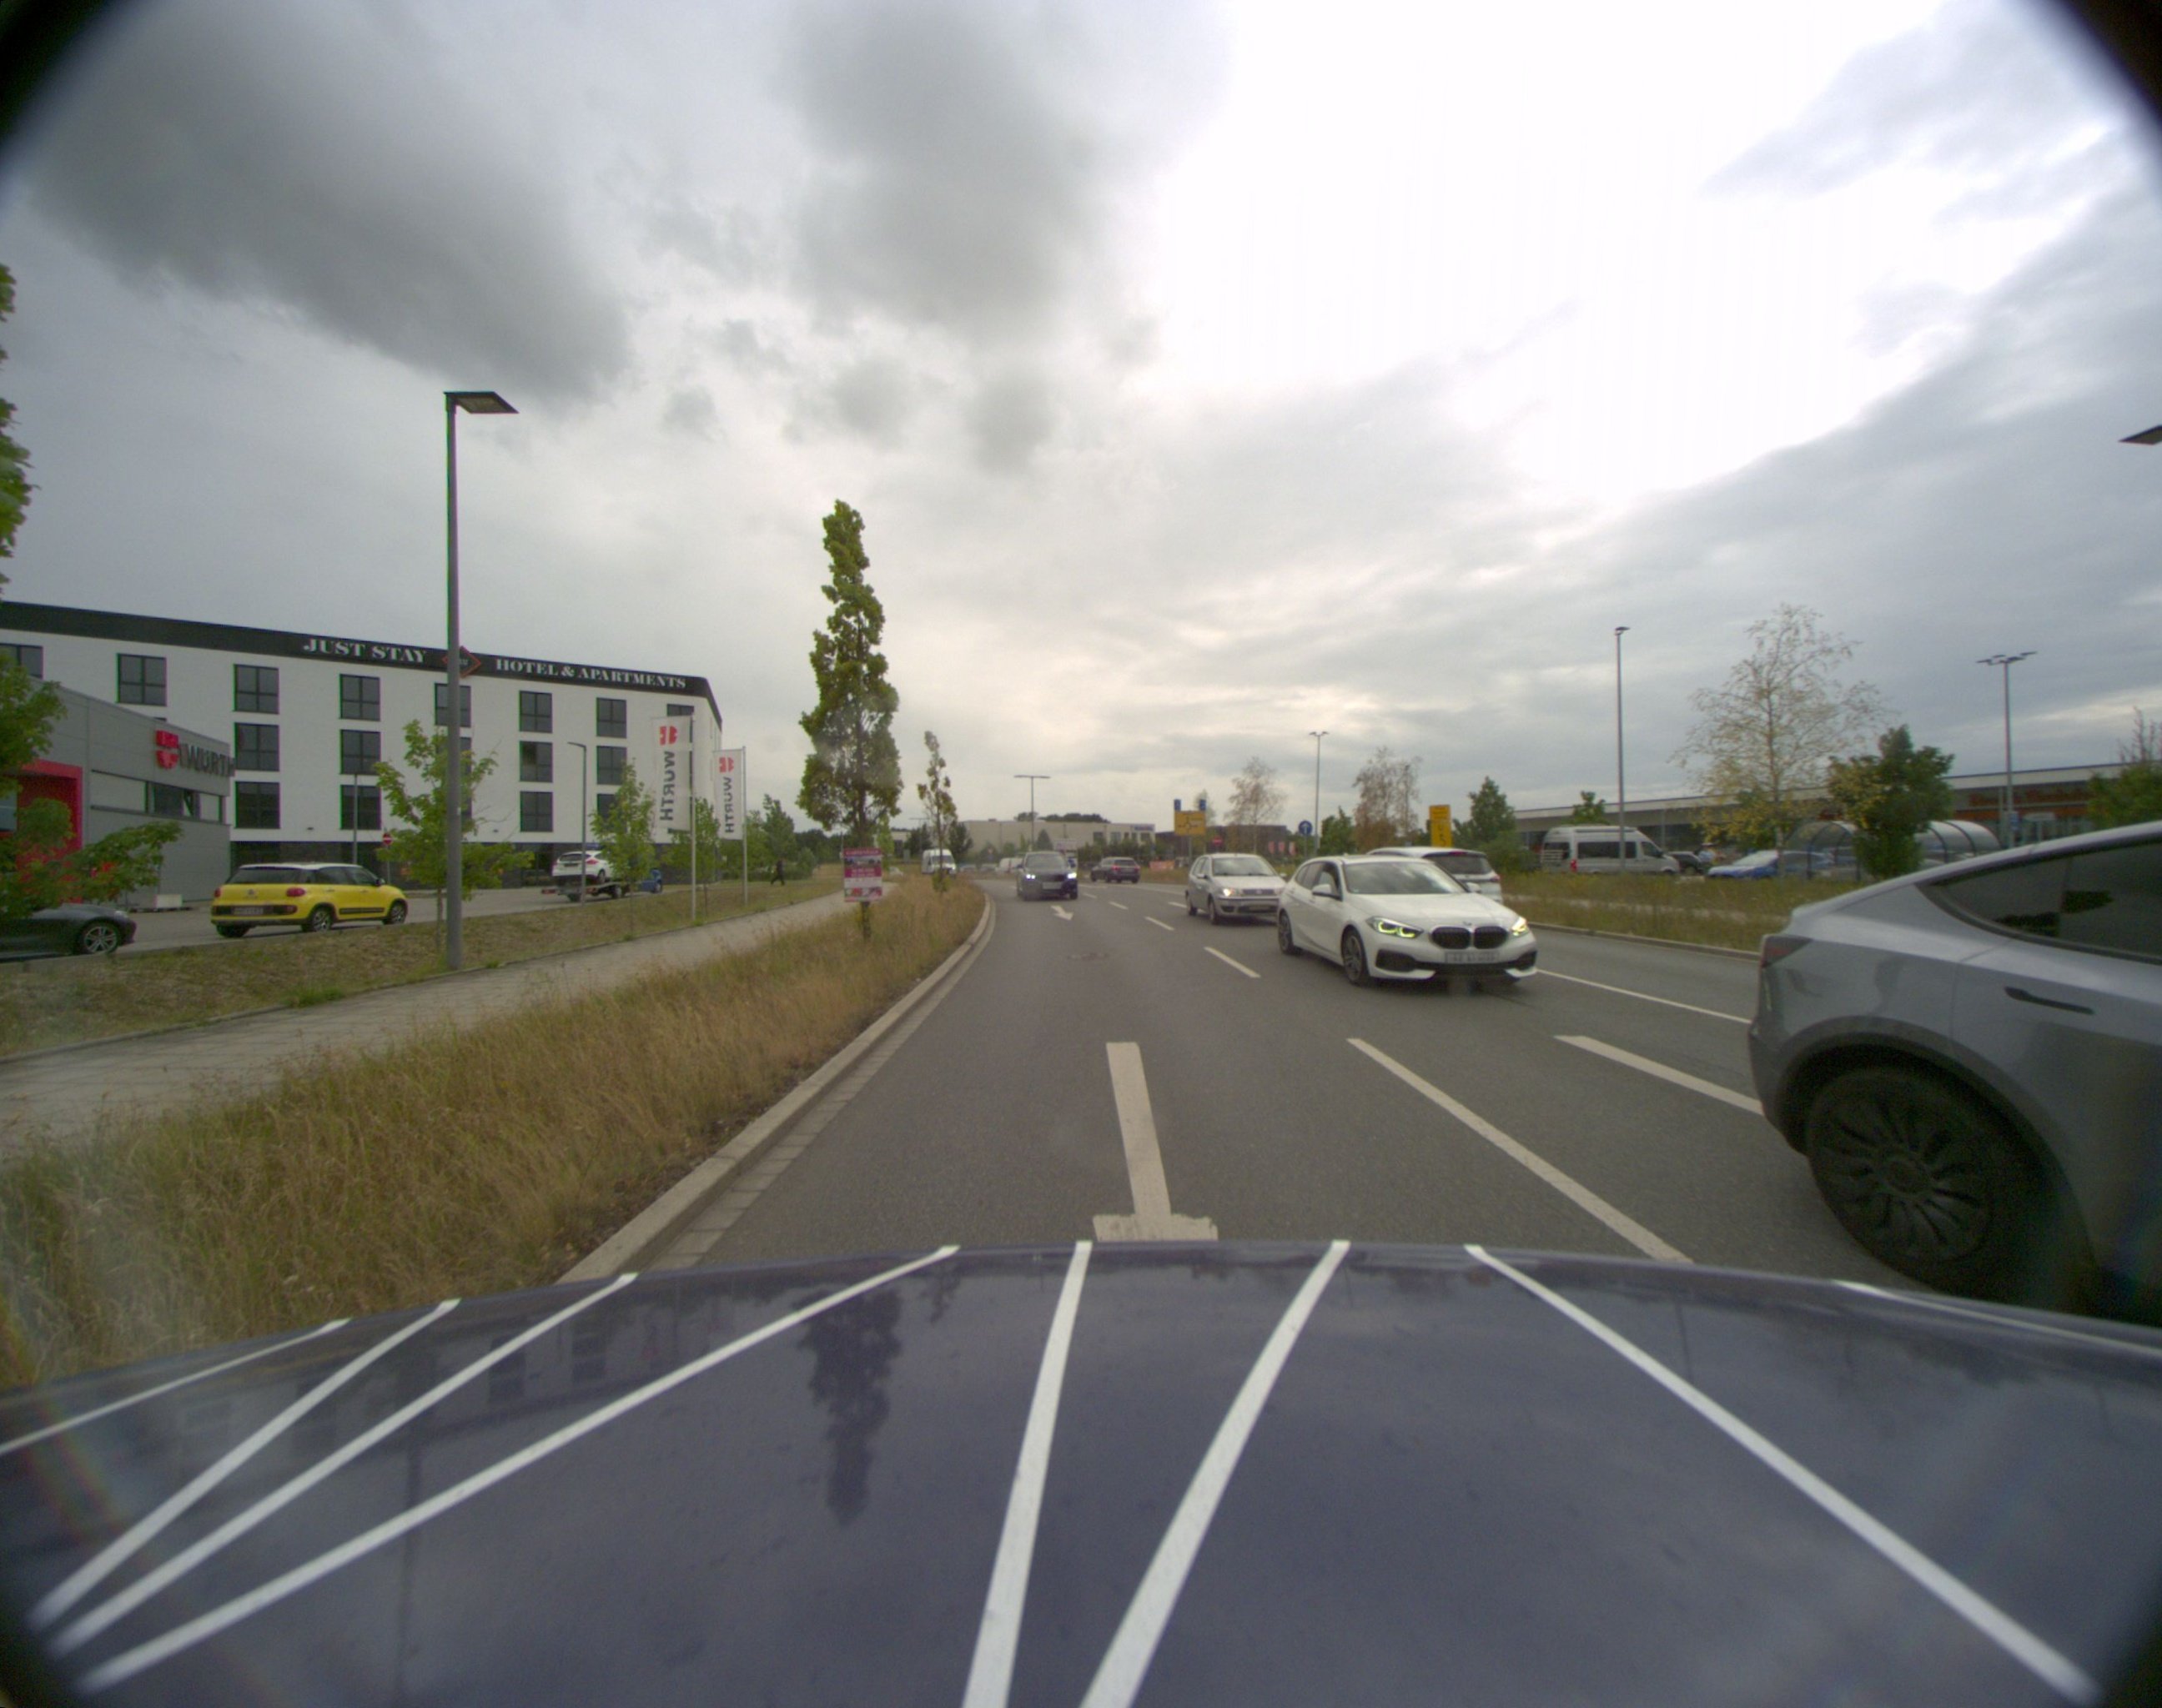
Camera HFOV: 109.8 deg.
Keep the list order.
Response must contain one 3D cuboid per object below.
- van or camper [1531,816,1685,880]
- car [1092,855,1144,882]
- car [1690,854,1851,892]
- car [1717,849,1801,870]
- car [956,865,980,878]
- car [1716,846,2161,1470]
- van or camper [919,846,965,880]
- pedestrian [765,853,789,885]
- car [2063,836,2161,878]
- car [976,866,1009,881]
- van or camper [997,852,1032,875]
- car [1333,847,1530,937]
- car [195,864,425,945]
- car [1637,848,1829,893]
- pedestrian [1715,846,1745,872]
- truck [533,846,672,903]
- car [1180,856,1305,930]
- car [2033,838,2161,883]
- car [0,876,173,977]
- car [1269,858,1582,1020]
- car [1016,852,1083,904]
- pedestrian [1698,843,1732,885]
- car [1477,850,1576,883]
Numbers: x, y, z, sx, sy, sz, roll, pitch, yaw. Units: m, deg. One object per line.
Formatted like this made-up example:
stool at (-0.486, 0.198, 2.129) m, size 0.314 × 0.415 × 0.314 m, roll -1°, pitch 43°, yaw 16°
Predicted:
van or camper at (23.889, -0.281, 34.529) m, size 5.872 × 2.784 × 2.241 m, roll -1°, pitch 1°, yaw -10°
car at (2.112, 0.811, 44.492) m, size 1.792 × 1.481 × 4.761 m, roll 0°, pitch 0°, yaw -13°
car at (25.250, 0.670, 27.908) m, size 4.337 × 1.297 × 2.010 m, roll -1°, pitch 0°, yaw -6°
car at (47.866, 0.365, 53.709) m, size 2.001 × 1.433 × 3.995 m, roll -1°, pitch 0°, yaw -15°
car at (-12.881, 1.965, 86.559) m, size 1.790 × 1.313 × 3.993 m, roll -2°, pitch 0°, yaw -22°
car at (3.682, 0.744, 0.909) m, size 1.998 × 1.552 × 4.613 m, roll -1°, pitch 0°, yaw 0°
van or camper at (-11.585, 0.732, 62.999) m, size 2.269 × 2.601 × 5.685 m, roll -1°, pitch 0°, yaw -25°
pedestrian at (-18.259, 0.894, 45.671) m, size 1.195 × 1.847 × 1.073 m, roll 0°, pitch 2°, yaw -12°
car at (45.868, 0.141, 32.742) m, size 1.887 × 1.761 × 3.993 m, roll -1°, pitch 0°, yaw -22°
car at (-8.968, 1.928, 76.504) m, size 2.174 × 1.474 × 4.895 m, roll -1°, pitch 0°, yaw -21°
van or camper at (-6.138, 0.842, 69.281) m, size 1.954 × 1.996 × 5.120 m, roll 0°, pitch 0°, yaw -20°
car at (7.257, 0.697, 16.381) m, size 1.999 × 1.627 × 4.702 m, roll 1°, pitch 0°, yaw -1°
car at (-18.392, 1.094, 18.473) m, size 1.769 × 1.676 × 4.407 m, roll -1°, pitch 0°, yaw -12°
car at (19.548, 0.468, 22.932) m, size 4.091 × 1.252 × 2.011 m, roll -1°, pitch 0°, yaw 0°
pedestrian at (40.146, 0.326, 47.017) m, size 0.892 × 1.597 × 1.254 m, roll -1°, pitch 0°, yaw -39°
truck at (-21.629, 0.850, 34.952) m, size 2.234 × 2.312 × 8.208 m, roll -1°, pitch 0°, yaw -9°
car at (3.422, 0.775, 16.883) m, size 1.707 × 1.429 × 4.031 m, roll -1°, pitch 0°, yaw -3°
car at (43.188, 0.221, 31.685) m, size 1.781 × 1.762 × 3.993 m, roll -2°, pitch 1°, yaw -19°
car at (-18.040, 1.201, 12.030) m, size 1.999 × 1.488 × 4.605 m, roll -1°, pitch 1°, yaw -6°
car at (3.820, 0.824, 9.353) m, size 1.885 × 1.460 × 4.192 m, roll -1°, pitch 1°, yaw -1°
car at (-1.202, 0.781, 26.963) m, size 2.000 × 1.654 × 3.997 m, roll -2°, pitch 0°, yaw -7°
pedestrian at (29.113, 0.438, 34.913) m, size 1.111 × 1.879 × 1.013 m, roll 0°, pitch 0°, yaw 35°
car at (22.900, 0.631, 39.166) m, size 3.956 × 1.624 × 2.084 m, roll -1°, pitch 0°, yaw -8°
